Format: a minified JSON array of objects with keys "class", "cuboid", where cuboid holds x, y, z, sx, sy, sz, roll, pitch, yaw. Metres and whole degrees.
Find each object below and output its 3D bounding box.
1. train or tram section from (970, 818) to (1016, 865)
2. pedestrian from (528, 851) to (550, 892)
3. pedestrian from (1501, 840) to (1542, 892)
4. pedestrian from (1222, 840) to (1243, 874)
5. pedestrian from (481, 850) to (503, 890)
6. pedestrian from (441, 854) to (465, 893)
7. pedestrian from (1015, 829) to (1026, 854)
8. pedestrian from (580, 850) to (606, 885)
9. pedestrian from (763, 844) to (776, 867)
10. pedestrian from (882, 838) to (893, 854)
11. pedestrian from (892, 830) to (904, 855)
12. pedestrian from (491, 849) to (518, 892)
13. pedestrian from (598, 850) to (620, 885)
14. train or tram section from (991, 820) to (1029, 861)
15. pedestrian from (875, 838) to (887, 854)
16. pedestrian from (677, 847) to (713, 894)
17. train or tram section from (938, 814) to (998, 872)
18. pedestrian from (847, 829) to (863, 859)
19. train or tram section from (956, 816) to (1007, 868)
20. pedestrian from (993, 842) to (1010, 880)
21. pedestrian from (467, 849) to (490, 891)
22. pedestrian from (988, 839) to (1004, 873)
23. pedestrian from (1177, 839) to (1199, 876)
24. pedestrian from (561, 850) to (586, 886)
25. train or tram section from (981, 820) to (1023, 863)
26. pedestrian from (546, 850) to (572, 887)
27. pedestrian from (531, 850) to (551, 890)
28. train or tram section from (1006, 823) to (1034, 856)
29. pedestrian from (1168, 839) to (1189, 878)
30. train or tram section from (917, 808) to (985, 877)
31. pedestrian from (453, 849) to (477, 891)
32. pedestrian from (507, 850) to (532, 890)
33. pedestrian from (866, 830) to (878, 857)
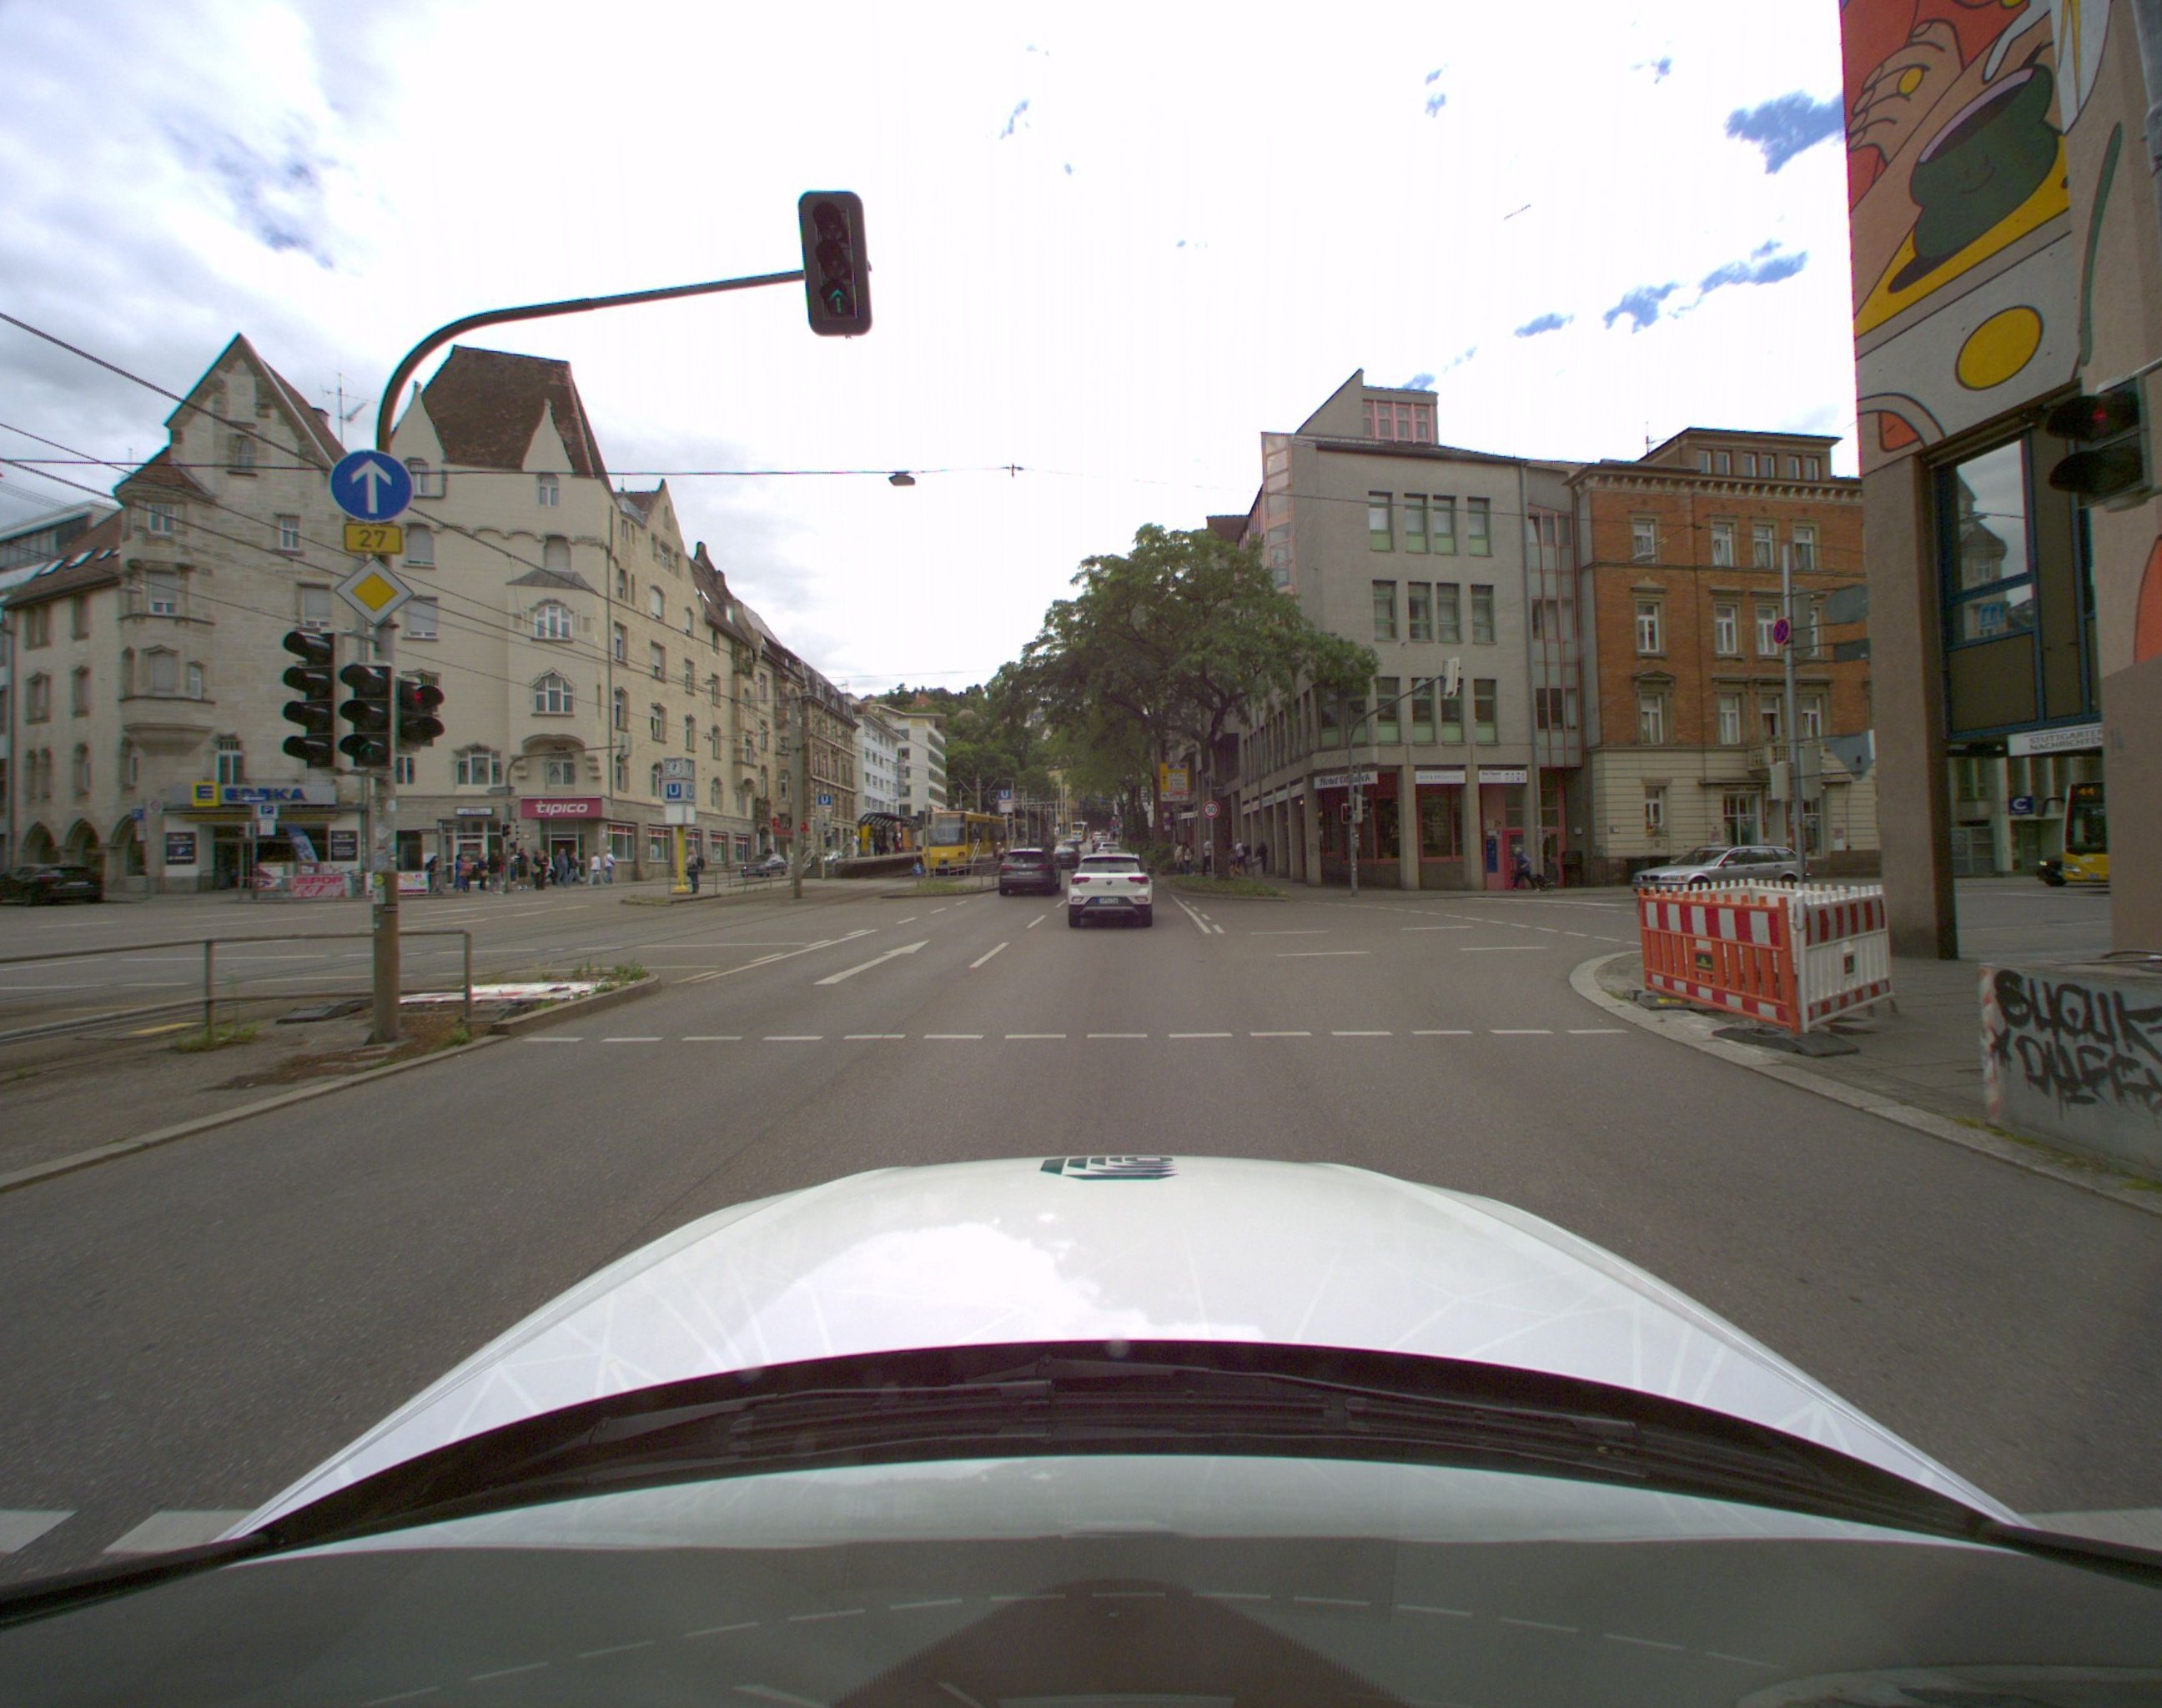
[{"class":"train or tram section","cuboid":[-6.805,-0.963,63.578,2.825,3.520,5.754,0,1,1]},{"class":"pedestrian","cuboid":[-23.850,0.758,35.847,0.506,1.780,0.579,-1,0,15]},{"class":"pedestrian","cuboid":[14.986,0.396,27.731,1.111,1.712,0.861,-1,0,35]},{"class":"pedestrian","cuboid":[7.054,0.134,37.980,0.834,1.563,0.763,0,0,-4]},{"class":"pedestrian","cuboid":[-25.996,0.699,35.934,0.508,1.780,0.577,-1,0,3]},{"class":"pedestrian","cuboid":[-26.241,0.819,34.030,0.572,1.582,0.512,-1,0,3]},{"class":"pedestrian","cuboid":[-4.246,-0.885,57.169,0.715,1.730,0.671,0,0,2]},{"class":"pedestrian","cuboid":[-24.189,0.680,40.395,0.778,1.705,0.724,-1,0,6]},{"class":"pedestrian","cuboid":[-23.682,0.131,61.932,0.632,1.762,0.836,-1,0,-42]},{"class":"pedestrian","cuboid":[-13.554,-0.583,57.050,0.633,1.107,0.690,-1,1,0]},{"class":"pedestrian","cuboid":[-12.838,-0.810,57.196,0.624,1.762,0.847,-1,0,2]},{"class":"pedestrian","cuboid":[-24.715,0.703,34.924,0.704,1.780,0.598,-1,0,16]},{"class":"pedestrian","cuboid":[-23.440,0.665,40.415,0.600,1.705,0.711,-1,0,6]},{"class":"train or tram section","cuboid":[-6.513,-1.235,75.176,2.803,3.666,5.904,0,1,1]},{"class":"pedestrian","cuboid":[-13.633,-0.566,55.618,0.633,1.107,0.690,-1,1,0]},{"class":"pedestrian","cuboid":[-14.301,0.590,30.198,0.866,1.705,0.817,-1,0,30]},{"class":"train or tram section","cuboid":[-7.116,-0.719,52.040,2.825,3.520,5.754,0,1,1]},{"class":"pedestrian","cuboid":[-13.440,-0.597,48.422,0.686,1.711,0.662,-1,1,0]},{"class":"train or tram section","cuboid":[-6.973,-0.844,57.795,2.825,3.520,5.754,0,1,1]},{"class":"pedestrian","cuboid":[-3.631,0.327,37.260,0.633,1.711,0.872,-1,1,1]},{"class":"pedestrian","cuboid":[-26.091,0.677,35.288,0.507,1.780,0.578,-1,0,7]},{"class":"pedestrian","cuboid":[-4.225,0.092,40.715,0.683,1.711,0.712,-1,1,0]},{"class":"pedestrian","cuboid":[5.125,0.157,38.933,0.834,1.704,0.763,-3,1,-4]},{"class":"pedestrian","cuboid":[-24.419,0.685,39.192,0.778,1.705,0.654,-1,0,6]},{"class":"train or tram section","cuboid":[-6.659,-1.060,69.337,2.825,3.520,5.754,0,1,1]},{"class":"pedestrian","cuboid":[-23.981,0.669,37.426,0.668,1.677,0.694,-1,0,18]},{"class":"pedestrian","cuboid":[-24.644,0.729,37.153,0.505,1.780,0.580,-1,0,31]},{"class":"train or tram section","cuboid":[-7.042,-1.675,94.613,2.804,3.666,6.750,0,1,0]},{"class":"pedestrian","cuboid":[4.561,0.198,38.141,0.692,1.777,0.689,-5,0,-4]},{"class":"train or tram section","cuboid":[-7.254,-0.647,46.273,2.825,3.678,5.754,0,1,1]},{"class":"pedestrian","cuboid":[-26.146,0.685,34.583,0.572,1.780,0.512,-1,0,6]},{"class":"pedestrian","cuboid":[-25.446,0.733,36.910,0.780,1.780,0.672,-1,0,31]},{"class":"pedestrian","cuboid":[-13.505,-0.694,52.585,0.635,1.711,0.688,-1,1,-8]}]
